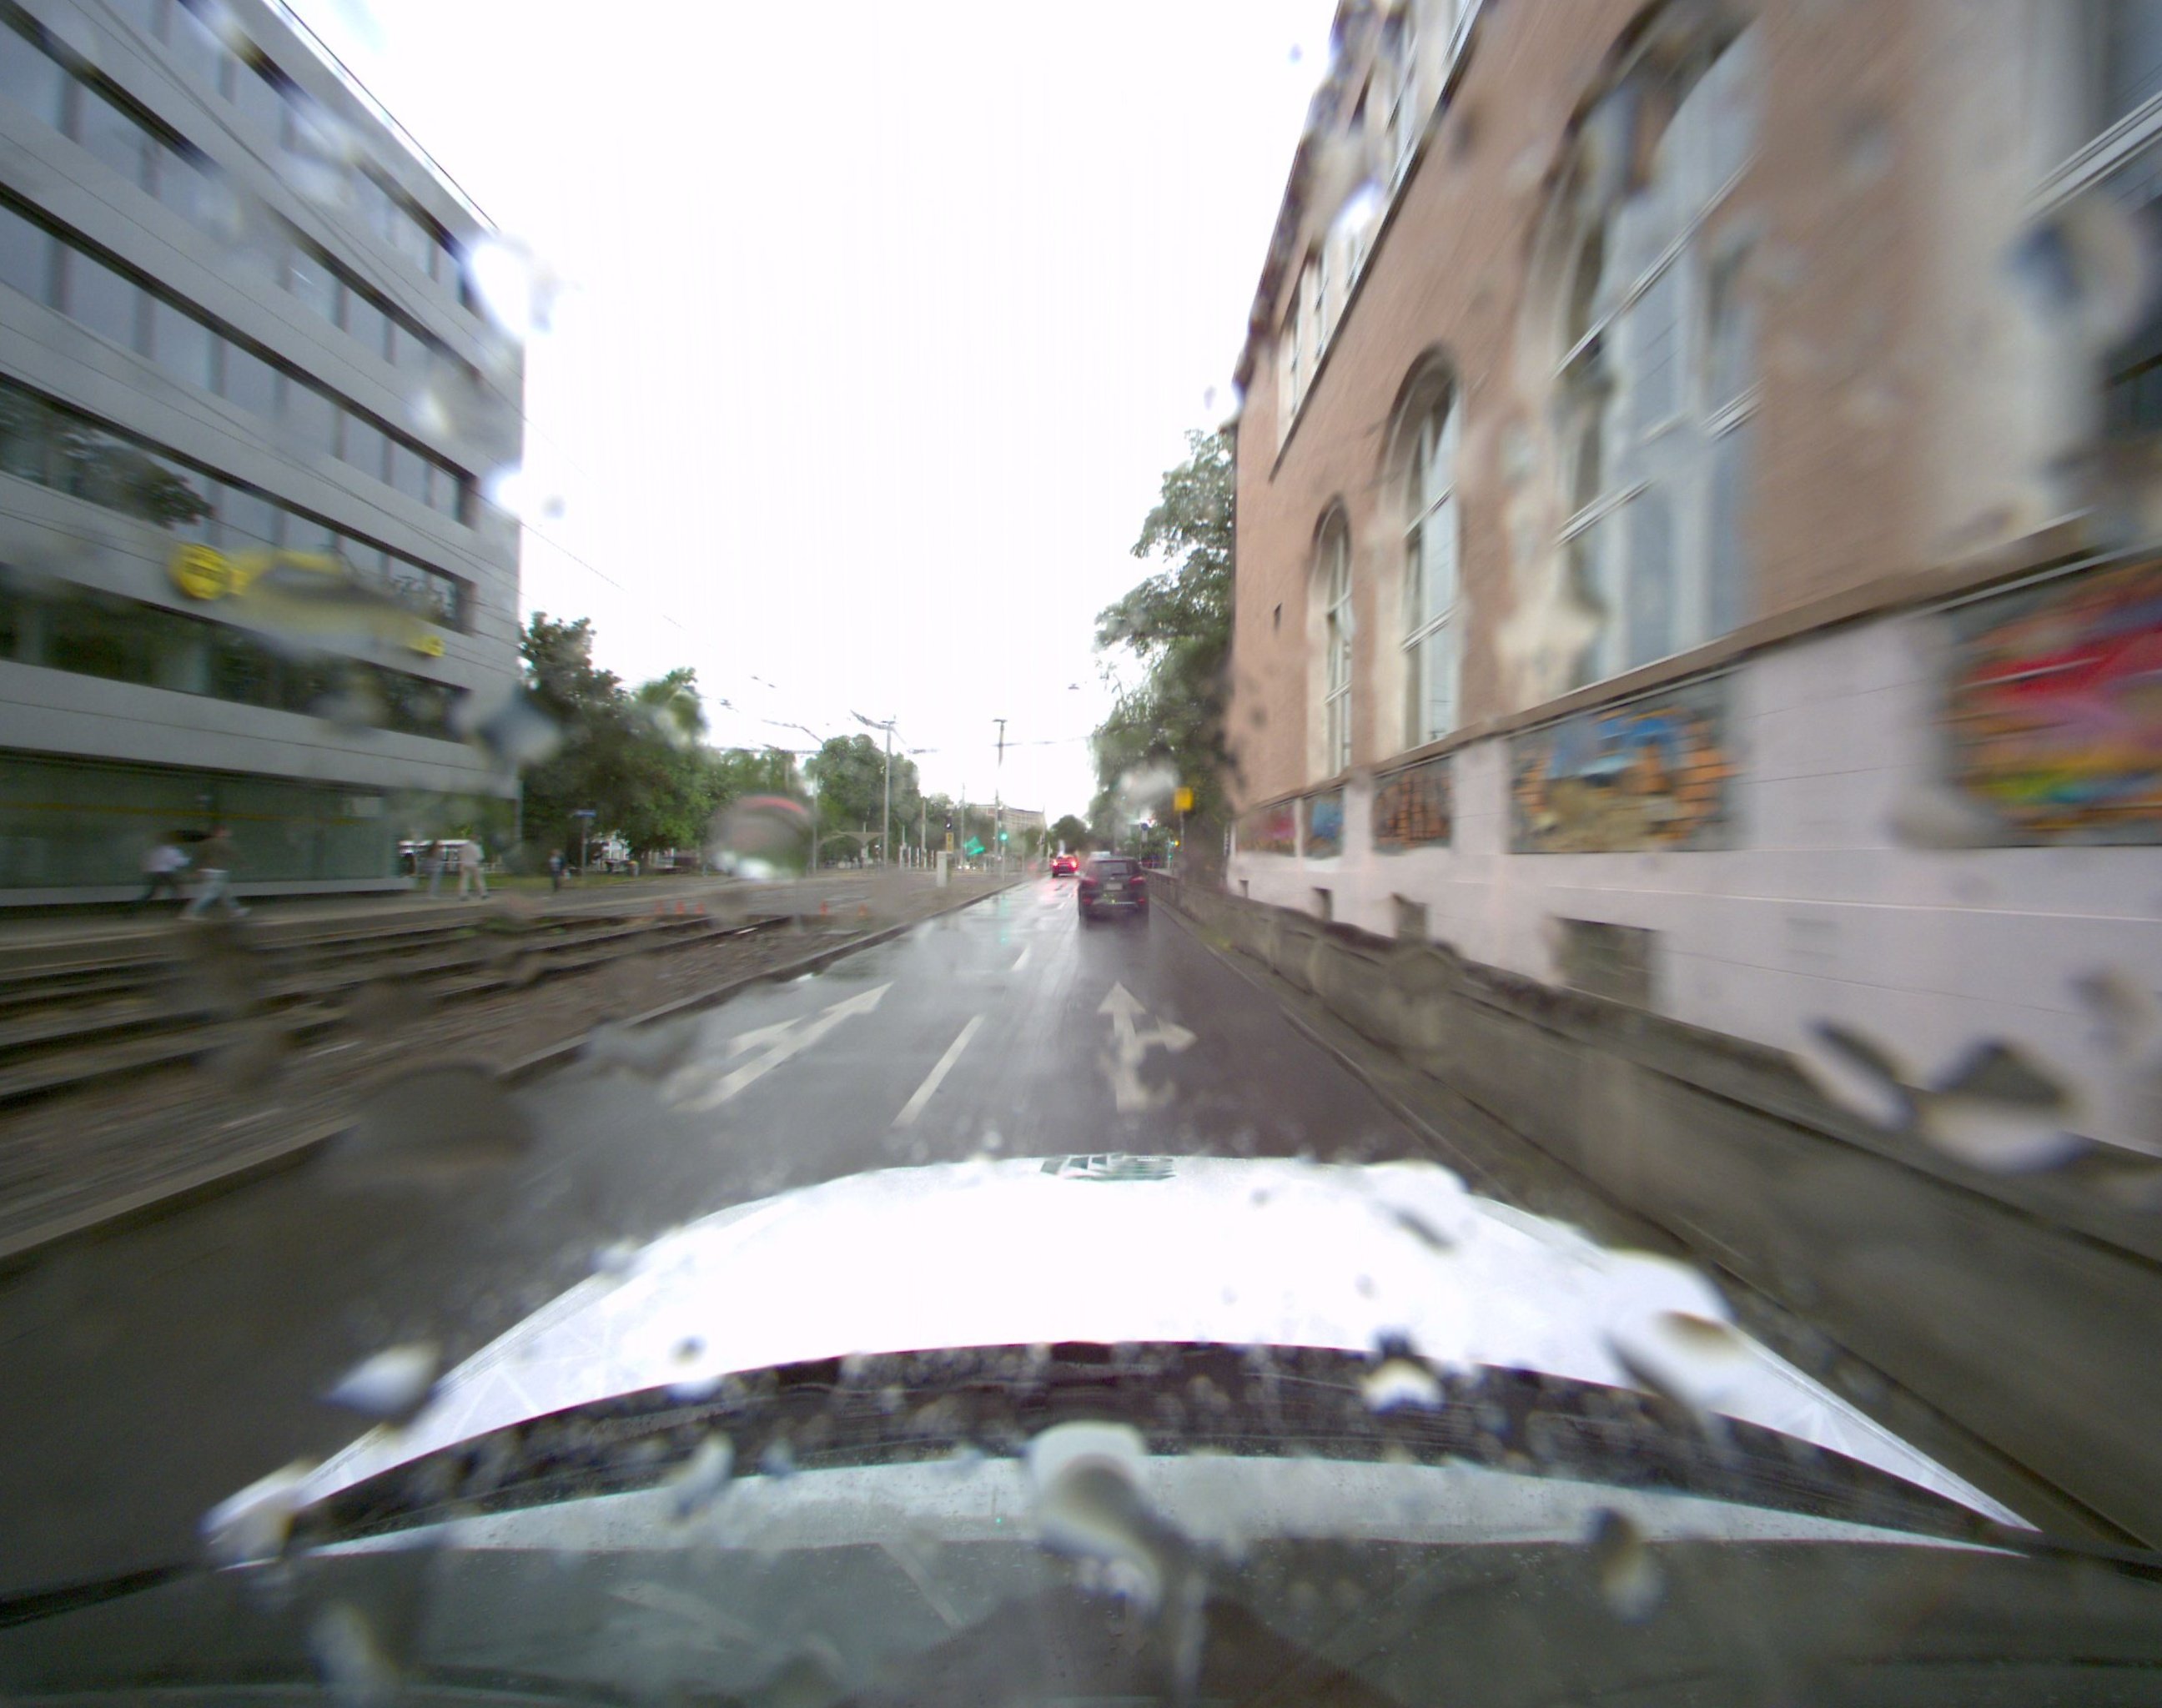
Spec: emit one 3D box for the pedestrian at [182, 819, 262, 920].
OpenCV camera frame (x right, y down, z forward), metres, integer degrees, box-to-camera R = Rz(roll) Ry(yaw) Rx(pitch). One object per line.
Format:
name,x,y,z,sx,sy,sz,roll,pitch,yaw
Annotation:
pedestrian,-17.781,0.316,16.872,0.658,2.014,0.811,3,-1,1

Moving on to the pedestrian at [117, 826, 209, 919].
pedestrian,-18.799,0.376,16.708,0.658,1.815,0.974,3,-1,1

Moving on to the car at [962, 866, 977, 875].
car,-19.978,2.973,146.093,1.986,1.646,4.538,0,-1,2

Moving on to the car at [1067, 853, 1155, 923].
car,0.758,0.796,21.155,2.028,1.584,4.393,1,0,1

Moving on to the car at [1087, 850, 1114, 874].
car,1.593,0.636,64.954,2.027,1.840,4.395,1,0,3

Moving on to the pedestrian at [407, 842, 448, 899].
pedestrian,-18.766,0.482,23.394,0.582,1.594,0.639,2,-1,18

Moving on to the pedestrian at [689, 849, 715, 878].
pedestrian,-21.869,0.536,47.019,0.905,1.594,1.005,2,-1,8

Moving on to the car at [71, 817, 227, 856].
car,-35.961,-0.661,31.552,3.546,1.448,1.688,0,-1,-25

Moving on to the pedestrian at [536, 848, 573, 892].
pedestrian,-19.864,0.598,30.749,0.966,1.594,0.585,3,-1,-17

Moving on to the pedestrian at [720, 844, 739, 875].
pedestrian,-21.635,0.324,50.092,0.916,1.863,0.994,3,-1,-30

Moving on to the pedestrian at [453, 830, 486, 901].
pedestrian,-17.796,0.337,23.719,0.666,2.014,0.610,3,-1,-37

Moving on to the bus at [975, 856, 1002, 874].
bus,-16.962,2.002,150.132,3.064,3.301,12.530,0,-1,3

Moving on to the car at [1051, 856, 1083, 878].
car,-1.021,0.930,58.136,2.094,1.506,4.725,0,-1,-4
